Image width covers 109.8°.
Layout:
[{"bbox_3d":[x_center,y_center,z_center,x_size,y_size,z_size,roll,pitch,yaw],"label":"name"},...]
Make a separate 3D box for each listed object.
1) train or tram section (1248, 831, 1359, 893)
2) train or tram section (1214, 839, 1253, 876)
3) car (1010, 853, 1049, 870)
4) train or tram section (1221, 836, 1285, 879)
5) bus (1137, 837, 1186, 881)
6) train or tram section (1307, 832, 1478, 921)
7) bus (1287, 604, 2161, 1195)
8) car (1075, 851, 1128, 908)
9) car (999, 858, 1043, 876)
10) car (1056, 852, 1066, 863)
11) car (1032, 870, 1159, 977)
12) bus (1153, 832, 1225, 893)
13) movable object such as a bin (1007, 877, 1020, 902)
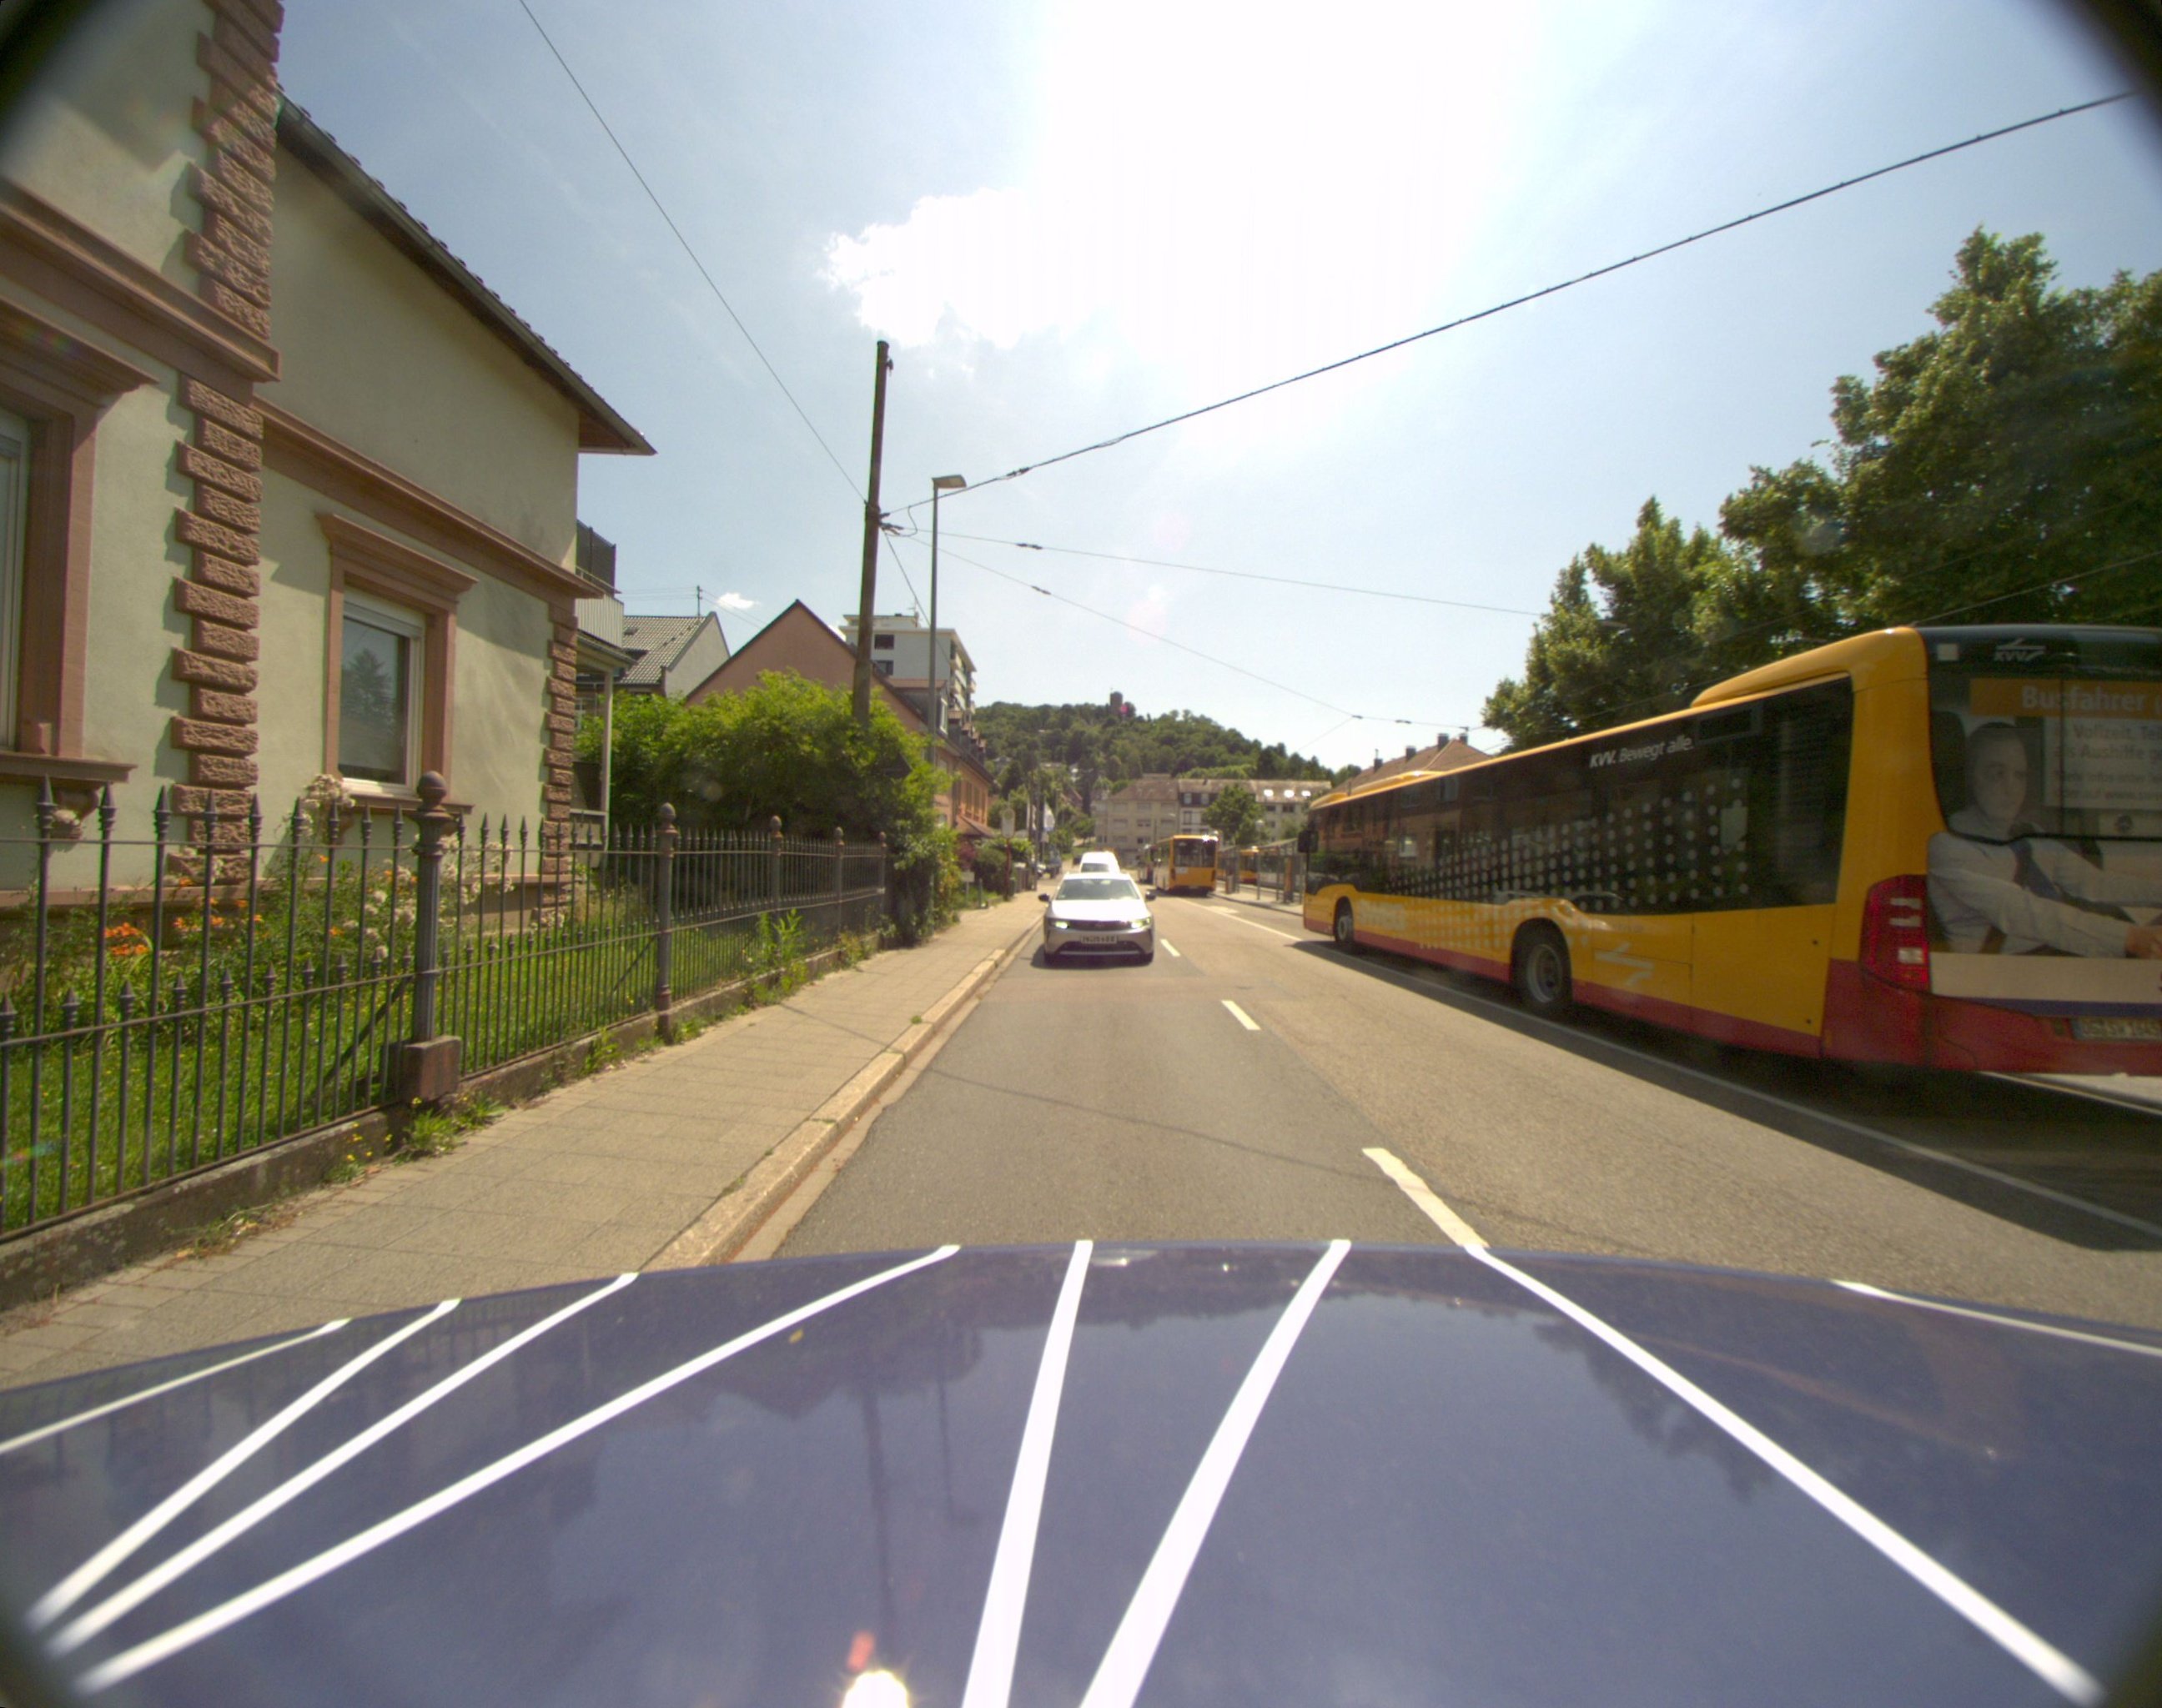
[{"bbox_3d":[15.068,0.413,53.610,2.971,3.621,17.351,-1,0,1],"label":"train or tram section"},{"bbox_3d":[15.343,0.344,76.877,2.971,3.475,4.417,2,1,1],"label":"train or tram section"},{"bbox_3d":[-5.777,0.850,84.794,4.277,1.779,1.827,0,2,40],"label":"car"},{"bbox_3d":[15.239,0.288,68.428,2.971,3.475,12.656,-1,0,1],"label":"train or tram section"},{"bbox_3d":[6.784,0.461,65.728,2.915,3.406,12.041,-1,-1,0],"label":"bus"},{"bbox_3d":[14.842,0.905,38.137,2.971,3.621,13.993,-1,0,1],"label":"train or tram section"},{"bbox_3d":[5.861,0.225,10.232,2.915,3.229,12.117,-1,0,0],"label":"bus"},{"bbox_3d":[0.827,1.044,34.084,1.999,2.258,5.442,-1,1,-2],"label":"car"},{"bbox_3d":[-5.581,1.215,70.429,3.890,1.534,1.840,1,1,-12],"label":"car"},{"bbox_3d":[-3.528,0.550,135.874,1.708,1.840,4.710,-1,1,-2],"label":"car"},{"bbox_3d":[0.374,1.036,13.068,1.817,1.371,4.393,0,1,4],"label":"car"},{"bbox_3d":[6.308,0.335,46.339,2.905,3.229,12.194,-1,1,1],"label":"bus"},{"bbox_3d":[-2.625,1.380,29.748,0.407,0.902,0.729,5,1,-3],"label":"movable object such as a bin"}]
